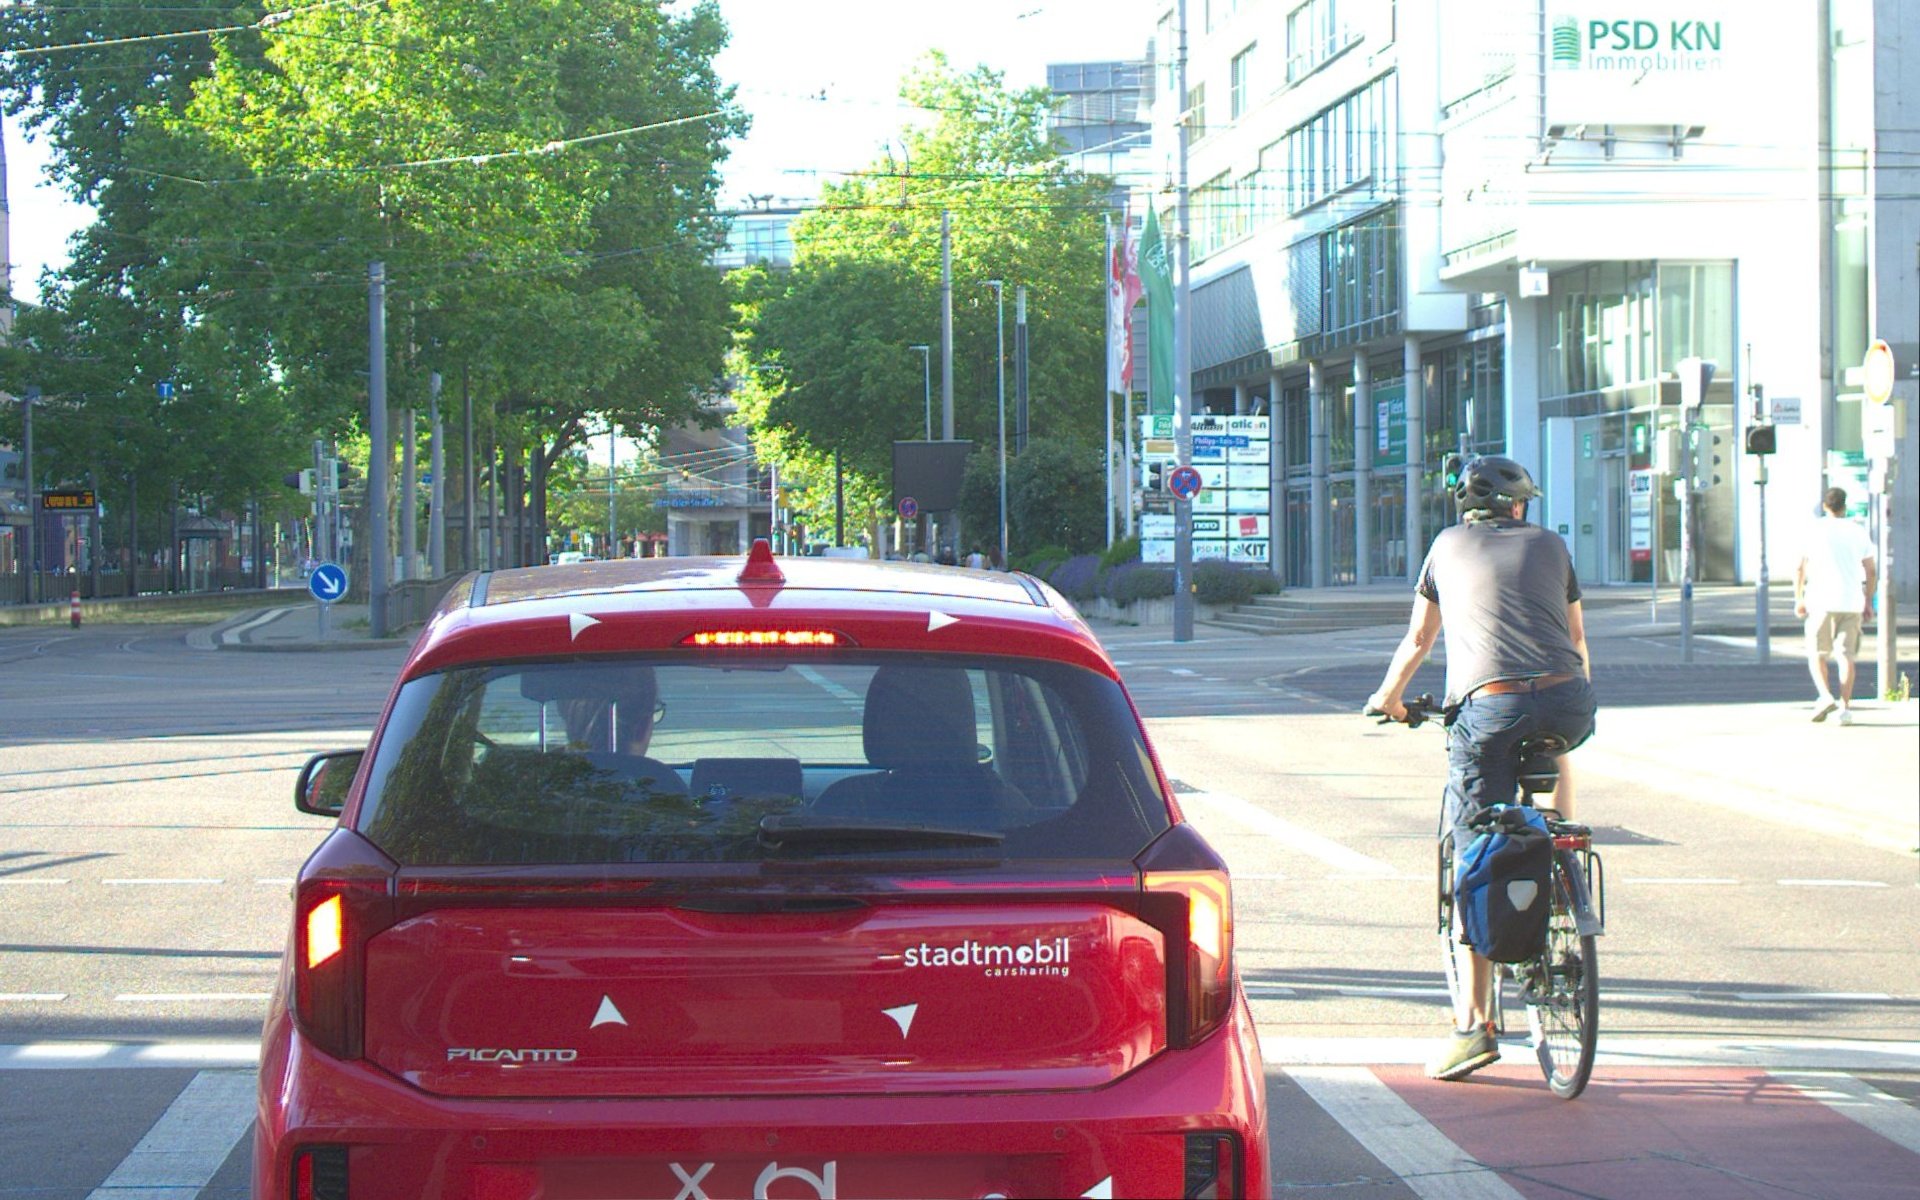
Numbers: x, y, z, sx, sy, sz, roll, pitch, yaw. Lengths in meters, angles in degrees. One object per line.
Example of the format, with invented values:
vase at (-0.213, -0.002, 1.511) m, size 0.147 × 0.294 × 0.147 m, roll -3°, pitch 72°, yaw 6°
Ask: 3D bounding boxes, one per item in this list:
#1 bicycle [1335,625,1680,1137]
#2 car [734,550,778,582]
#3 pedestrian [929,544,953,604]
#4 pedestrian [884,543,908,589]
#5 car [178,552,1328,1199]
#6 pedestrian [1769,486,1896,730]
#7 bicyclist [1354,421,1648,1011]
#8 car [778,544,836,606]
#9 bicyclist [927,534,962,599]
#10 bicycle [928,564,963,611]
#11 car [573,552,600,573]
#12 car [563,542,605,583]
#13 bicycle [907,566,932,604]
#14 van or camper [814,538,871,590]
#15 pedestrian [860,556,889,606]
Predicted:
bicycle at (1.533, 0.738, 9.924) m, size 0.650 × 1.276 × 1.966 m, roll -1°, pitch 1°, yaw -1°
car at (-10.126, -1.695, 170.243) m, size 1.777 × 1.529 × 3.513 m, roll 0°, pitch 1°, yaw -10°
pedestrian at (-0.532, -0.743, 96.524) m, size 0.646 × 1.674 × 0.651 m, roll -1°, pitch 1°, yaw 0°
pedestrian at (-2.427, -1.294, 130.341) m, size 0.891 × 1.747 × 0.841 m, roll -1°, pitch 1°, yaw -1°
car at (-0.434, 0.682, 6.538) m, size 1.613 × 1.529 × 3.412 m, roll 0°, pitch 1°, yaw -5°
pedestrian at (6.674, 0.052, 26.338) m, size 0.777 × 1.817 × 1.215 m, roll -1°, pitch 1°, yaw 7°
bicyclist at (1.534, 0.307, 9.893) m, size 0.650 × 1.597 × 1.089 m, roll -1°, pitch 1°, yaw -1°
car at (-4.517, -0.752, 101.225) m, size 1.635 × 1.794 × 3.330 m, roll -1°, pitch 1°, yaw -3°
bicyclist at (-0.404, -0.852, 87.192) m, size 0.721 × 1.597 × 1.089 m, roll -3°, pitch 1°, yaw -5°
bicycle at (-0.369, -0.324, 87.192) m, size 0.696 × 1.094 × 1.751 m, roll -4°, pitch 2°, yaw -4°
car at (-27.833, -2.821, 255.841) m, size 1.777 × 1.529 × 3.413 m, roll 0°, pitch 1°, yaw -10°
car at (-19.199, -1.931, 175.447) m, size 1.993 × 2.007 × 4.001 m, roll -1°, pitch 1°, yaw -8°
bicycle at (-1.127, -0.431, 96.513) m, size 0.520 × 0.971 × 2.201 m, roll -4°, pitch 2°, yaw 2°
van or camper at (-4.538, -1.394, 132.299) m, size 1.993 × 1.982 × 4.745 m, roll 0°, pitch 1°, yaw -4°
pedestrian at (-2.807, -0.626, 113.281) m, size 0.642 × 1.574 × 0.723 m, roll -4°, pitch 1°, yaw 18°
